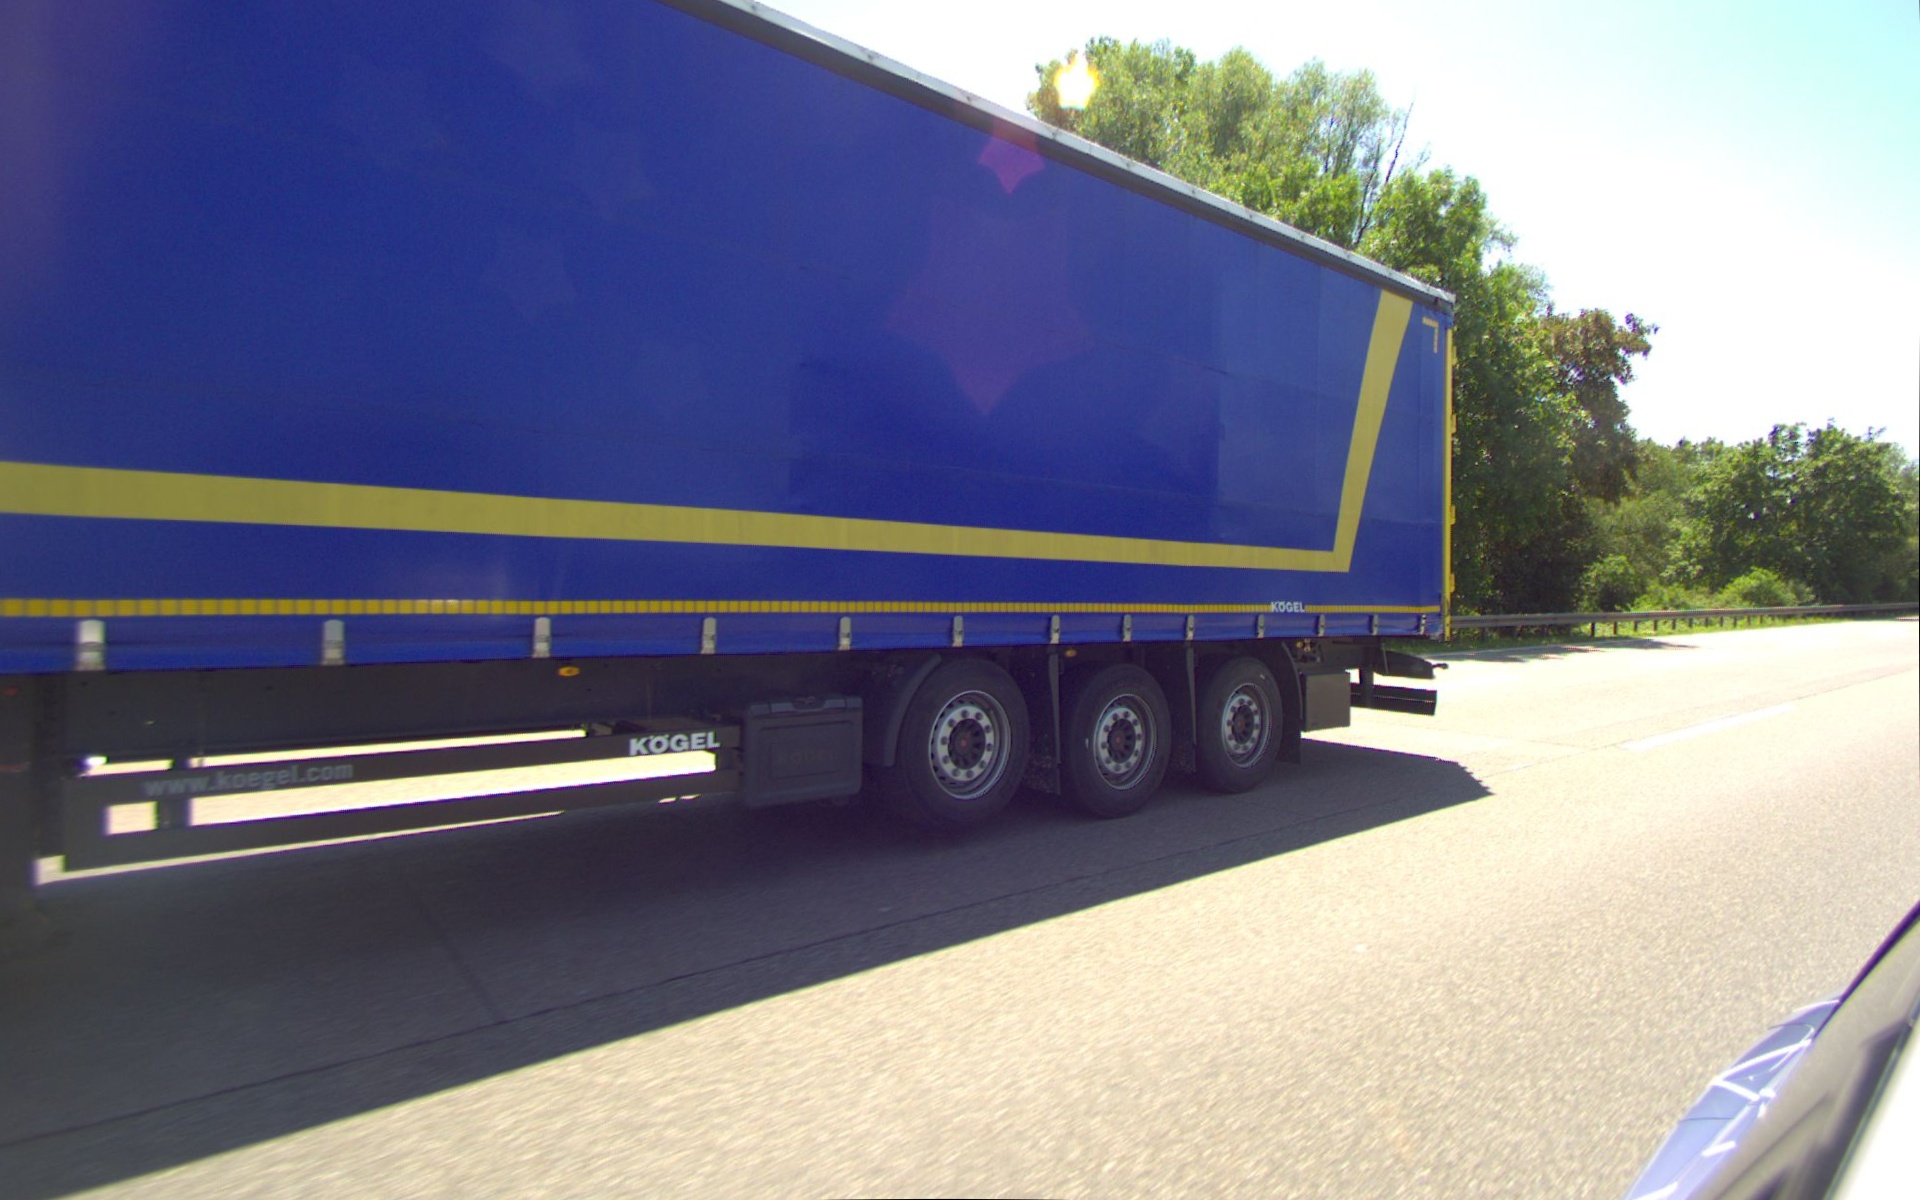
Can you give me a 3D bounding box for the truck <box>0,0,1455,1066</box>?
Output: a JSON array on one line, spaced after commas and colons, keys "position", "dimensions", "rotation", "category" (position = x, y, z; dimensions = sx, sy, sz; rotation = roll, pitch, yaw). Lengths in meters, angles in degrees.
[{"position": [-3.119, -0.859, 4.463], "dimensions": [16.491, 4.309, 2.852], "rotation": [-1, 3, -39], "category": "truck"}]
